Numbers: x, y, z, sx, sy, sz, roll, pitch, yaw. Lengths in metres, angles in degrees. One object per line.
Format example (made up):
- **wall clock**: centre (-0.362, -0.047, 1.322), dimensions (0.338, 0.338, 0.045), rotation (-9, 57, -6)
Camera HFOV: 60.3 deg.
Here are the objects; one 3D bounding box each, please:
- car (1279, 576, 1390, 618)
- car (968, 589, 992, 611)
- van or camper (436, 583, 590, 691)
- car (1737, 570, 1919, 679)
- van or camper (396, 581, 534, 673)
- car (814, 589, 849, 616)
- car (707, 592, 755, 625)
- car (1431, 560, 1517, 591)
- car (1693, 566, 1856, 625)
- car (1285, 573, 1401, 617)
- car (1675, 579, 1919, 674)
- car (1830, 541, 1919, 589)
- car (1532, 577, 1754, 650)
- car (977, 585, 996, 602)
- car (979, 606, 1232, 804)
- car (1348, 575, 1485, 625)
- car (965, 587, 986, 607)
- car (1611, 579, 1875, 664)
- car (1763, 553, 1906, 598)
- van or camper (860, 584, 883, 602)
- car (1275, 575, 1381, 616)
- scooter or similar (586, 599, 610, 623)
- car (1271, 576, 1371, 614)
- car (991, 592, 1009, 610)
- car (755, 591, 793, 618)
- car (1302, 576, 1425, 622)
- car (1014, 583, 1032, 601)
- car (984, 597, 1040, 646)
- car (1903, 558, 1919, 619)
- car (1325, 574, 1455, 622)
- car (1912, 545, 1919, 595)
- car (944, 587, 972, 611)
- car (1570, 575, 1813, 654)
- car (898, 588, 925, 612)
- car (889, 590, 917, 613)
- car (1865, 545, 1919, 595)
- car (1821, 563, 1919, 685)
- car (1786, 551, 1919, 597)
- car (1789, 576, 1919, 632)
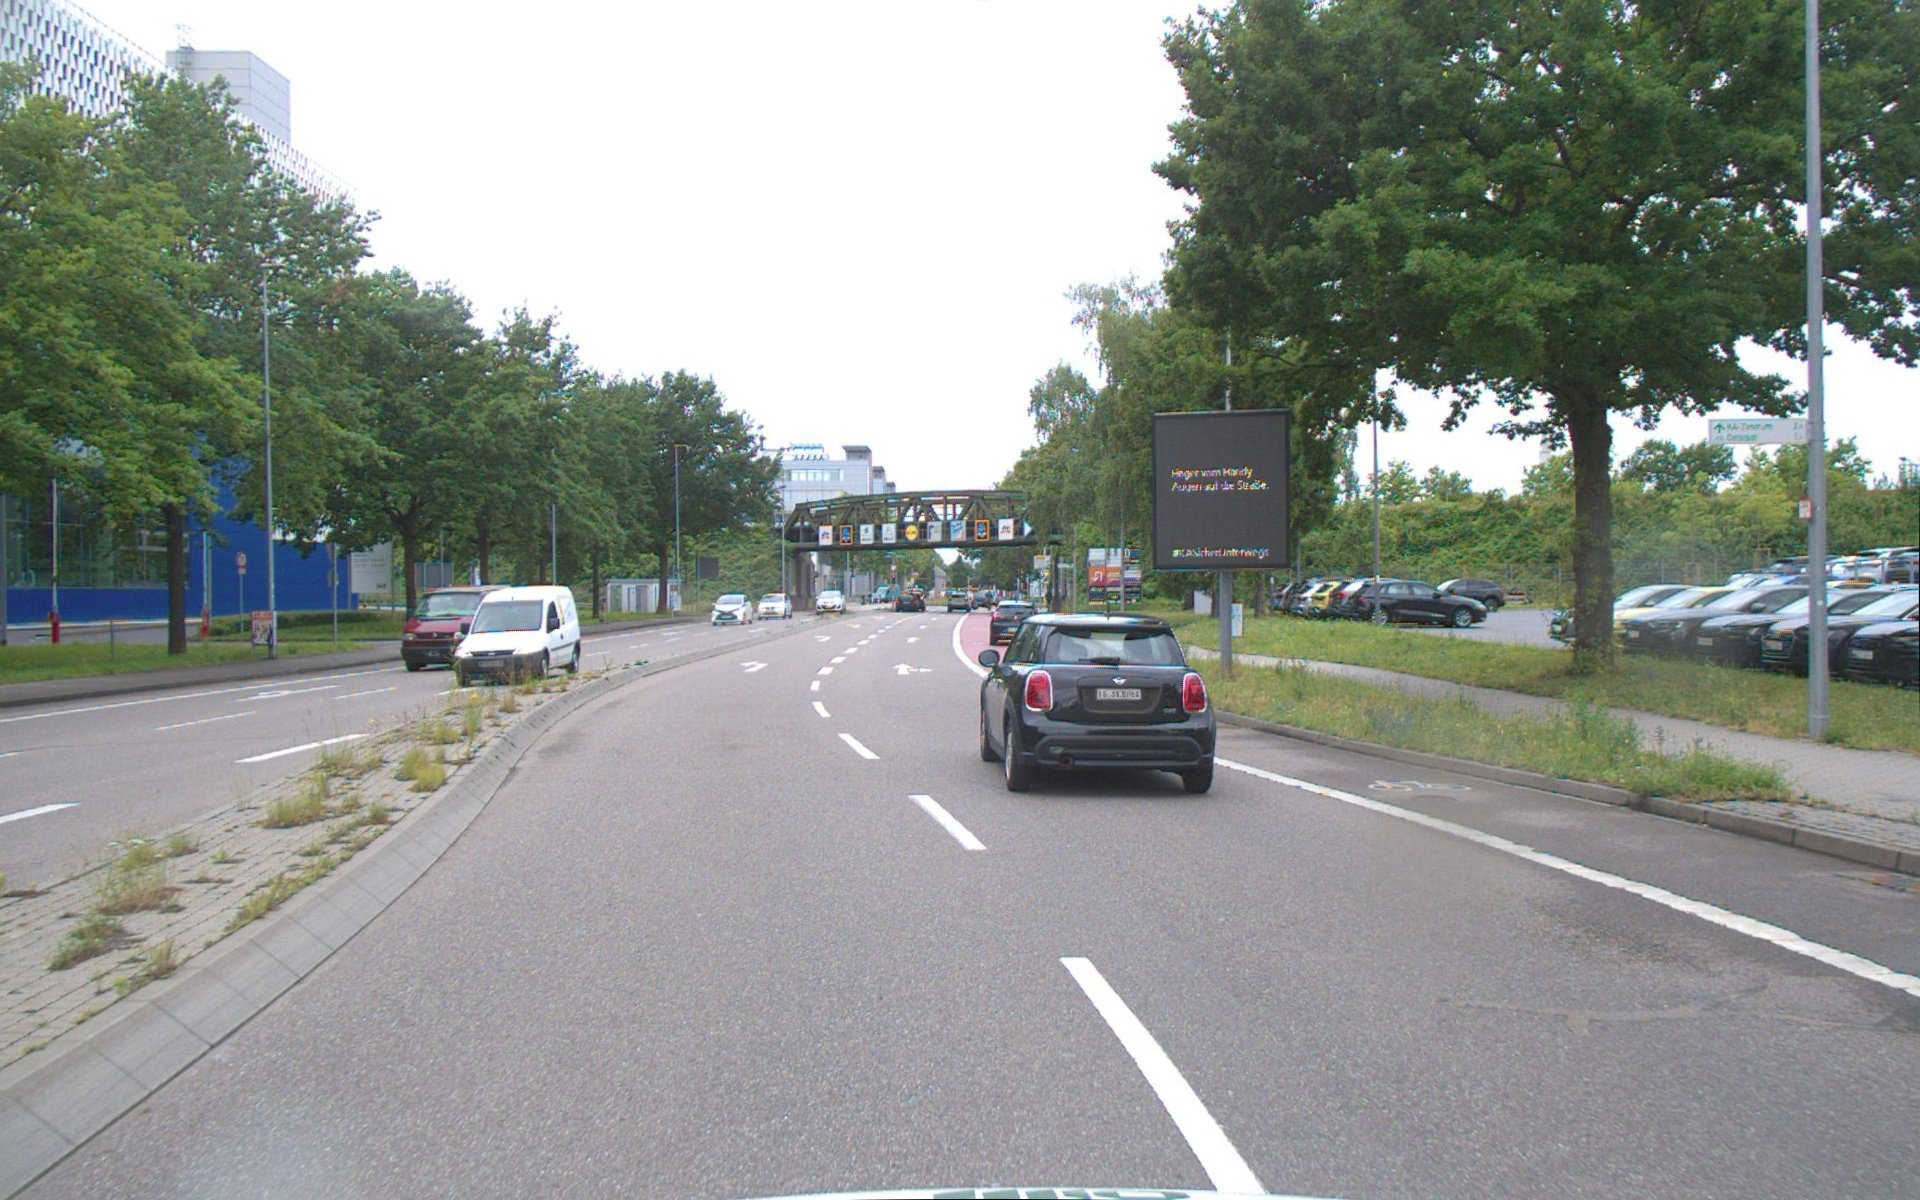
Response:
- **car**: centre (14.158, -0.130, 62.683), dimensions (3.902, 1.460, 1.732), rotation (1, 2, 7)
- **car**: centre (1.702, -0.007, 140.456), dimensions (1.845, 1.690, 3.784), rotation (1, 2, 3)
- **van or camper**: centre (-8.402, 0.631, 31.497), dimensions (1.720, 1.777, 4.406), rotation (-4, 1, -1)
- **car**: centre (14.611, 0.423, 25.549), dimensions (4.255, 1.529, 1.929), rotation (3, 0, 0)
- **van or camper**: centre (-11.959, 0.585, 40.290), dimensions (1.837, 2.021, 4.890), rotation (-1, 1, 0)
- **car**: centre (-8.868, 0.155, 114.316), dimensions (1.899, 1.705, 3.784), rotation (1, 2, 3)
- **car**: centre (-11.275, 0.382, 81.540), dimensions (1.718, 1.471, 3.341), rotation (1, 2, 3)
- **car**: centre (26.250, -1.263, 84.563), dimensions (3.902, 1.460, 1.732), rotation (1, 2, 7)
- **car**: centre (24.250, -0.144, 49.329), dimensions (4.002, 1.648, 1.730), rotation (0, 2, -1)
- **car**: centre (13.749, -0.182, 59.512), dimensions (3.902, 1.460, 1.732), rotation (1, 2, 7)
- **car**: centre (14.600, 0.428, 27.916), dimensions (4.254, 1.514, 1.843), rotation (1, 0, 0)
- **car**: centre (30.207, -1.123, 52.775), dimensions (4.002, 1.460, 1.730), rotation (0, 2, -1)
- **car**: centre (14.498, 0.269, 35.261), dimensions (4.002, 1.460, 1.730), rotation (0, 2, -1)
- **car**: centre (2.789, -0.673, 175.795), dimensions (1.845, 1.690, 3.784), rotation (1, 2, 3)
- **car**: centre (1.138, 0.811, 14.467), dimensions (1.750, 1.440, 3.642), rotation (2, 0, -2)
- **car**: centre (14.214, -0.013, 51.638), dimensions (3.902, 1.460, 1.732), rotation (1, 2, 7)
- **car**: centre (1.533, -0.311, 164.235), dimensions (1.909, 1.847, 4.002), rotation (1, 2, 3)
- **car**: centre (14.391, 0.375, 30.537), dimensions (4.002, 1.460, 1.822), rotation (0, 2, -1)
- **car**: centre (30.242, -0.855, 57.271), dimensions (4.002, 1.460, 1.730), rotation (0, 2, -1)
- **van or camper**: centre (-12.935, -0.994, 241.754), dimensions (1.951, 2.529, 7.034), rotation (-1, 1, 9)
- **car**: centre (14.324, -0.191, 64.550), dimensions (3.902, 1.460, 1.732), rotation (1, 2, 7)
- **scooter or similar**: centre (-17.889, 0.523, 81.726), dimensions (0.747, 1.108, 2.007), rotation (0, 2, 0)
- **car**: centre (14.950, -0.211, 68.665), dimensions (3.902, 1.460, 1.732), rotation (1, 2, 7)
- **car**: centre (4.582, 0.087, 189.085), dimensions (1.909, 1.847, 4.002), rotation (1, 2, 3)
- **car**: centre (-10.828, 0.248, 96.367), dimensions (1.683, 1.395, 3.442), rotation (1, 2, 3)
- **car**: centre (13.903, -0.052, 57.156), dimensions (3.902, 1.460, 1.732), rotation (1, 2, 7)
- **car**: centre (6.913, -0.874, 181.063), dimensions (1.909, 1.847, 4.002), rotation (1, 2, 3)
- **car**: centre (1.749, 0.700, 54.833), dimensions (1.720, 1.459, 4.002), rotation (-1, 1, 3)
- **car**: centre (25.439, -0.254, 40.217), dimensions (4.002, 1.460, 1.730), rotation (0, 2, -1)
- **car**: centre (14.045, -0.072, 54.140), dimensions (3.902, 1.460, 1.732), rotation (1, 2, 7)
- **car**: centre (29.940, -0.833, 47.685), dimensions (4.002, 1.460, 1.730), rotation (0, 2, -1)
- **car**: centre (-0.129, -0.095, 133.049), dimensions (2.091, 1.690, 3.784), rotation (1, 2, 3)
- **car**: centre (14.500, 0.273, 32.942), dimensions (4.002, 1.460, 1.846), rotation (0, 2, -1)
- **car**: centre (-3.982, -0.012, 135.619), dimensions (1.909, 1.847, 4.002), rotation (1, 2, 3)
- **car**: centre (-4.427, 0.102, 128.937), dimensions (1.845, 1.690, 3.784), rotation (1, 2, 3)
- **car**: centre (29.929, -0.910, 50.190), dimensions (4.002, 1.460, 1.730), rotation (0, 2, -1)
- **car**: centre (14.664, 0.442, 22.923), dimensions (4.355, 1.598, 2.000), rotation (4, 0, 0)
- **car**: centre (30.019, -0.864, 55.241), dimensions (4.002, 1.460, 1.730), rotation (0, 2, -1)
- **car**: centre (25.285, 0.106, 45.579), dimensions (4.002, 1.460, 1.730), rotation (0, 2, -1)
